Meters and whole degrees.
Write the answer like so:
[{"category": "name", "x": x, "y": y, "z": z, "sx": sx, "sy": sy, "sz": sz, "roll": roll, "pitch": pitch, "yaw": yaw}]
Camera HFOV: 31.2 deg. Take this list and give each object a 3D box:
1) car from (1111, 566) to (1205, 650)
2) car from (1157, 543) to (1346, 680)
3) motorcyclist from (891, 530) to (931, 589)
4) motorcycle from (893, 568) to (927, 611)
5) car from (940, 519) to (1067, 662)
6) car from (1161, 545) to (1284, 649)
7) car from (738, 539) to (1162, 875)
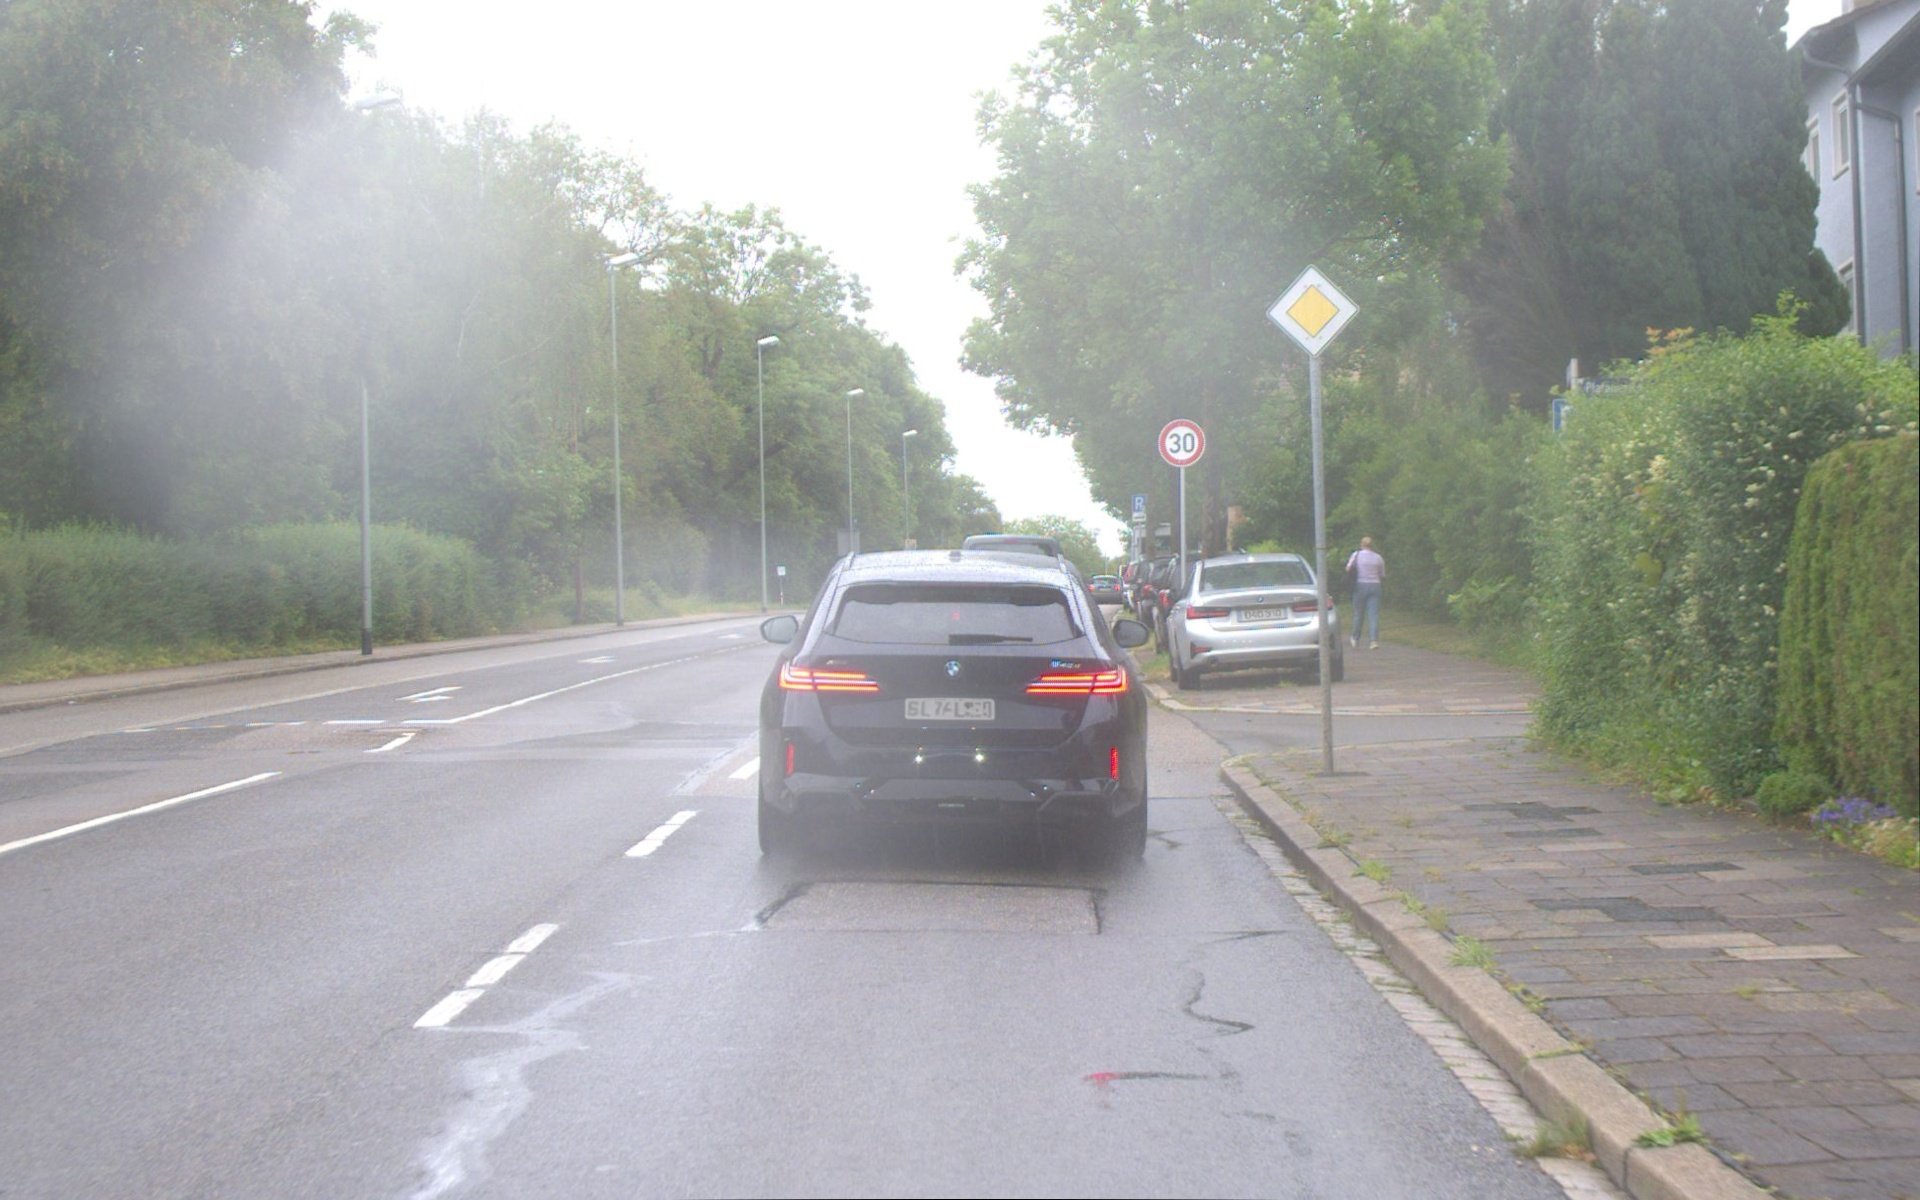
[{"category": "car", "x": 3.717, "y": 0.123, "z": 64.857, "sx": 1.589, "sy": 1.481, "sz": 3.562, "roll": -1, "pitch": 1, "yaw": 1}, {"category": "car", "x": 3.243, "y": 0.091, "z": 38.997, "sx": 1.935, "sy": 1.437, "sz": 4.408, "roll": -1, "pitch": 1, "yaw": 2}, {"category": "motorcyclist", "x": -1.318, "y": -1.097, "z": 92.497, "sx": 1.039, "sy": 1.562, "sz": 0.855, "roll": 1, "pitch": 0, "yaw": 0}, {"category": "motorcycle", "x": -1.334, "y": -0.290, "z": 92.476, "sx": 0.876, "sy": 1.120, "sz": 2.741, "roll": 1, "pitch": 1, "yaw": 0}, {"category": "car", "x": 0.572, "y": -0.174, "z": 47.287, "sx": 1.629, "sy": 1.827, "sz": 4.000, "roll": -2, "pitch": 1, "yaw": 0}, {"category": "car", "x": 3.899, "y": -0.075, "z": 51.437, "sx": 1.589, "sy": 1.456, "sz": 3.562, "roll": -1, "pitch": 1, "yaw": 1}, {"category": "car", "x": -0.013, "y": 0.451, "z": 17.631, "sx": 1.897, "sy": 1.484, "sz": 4.000, "roll": 1, "pitch": 1, "yaw": 1}]
